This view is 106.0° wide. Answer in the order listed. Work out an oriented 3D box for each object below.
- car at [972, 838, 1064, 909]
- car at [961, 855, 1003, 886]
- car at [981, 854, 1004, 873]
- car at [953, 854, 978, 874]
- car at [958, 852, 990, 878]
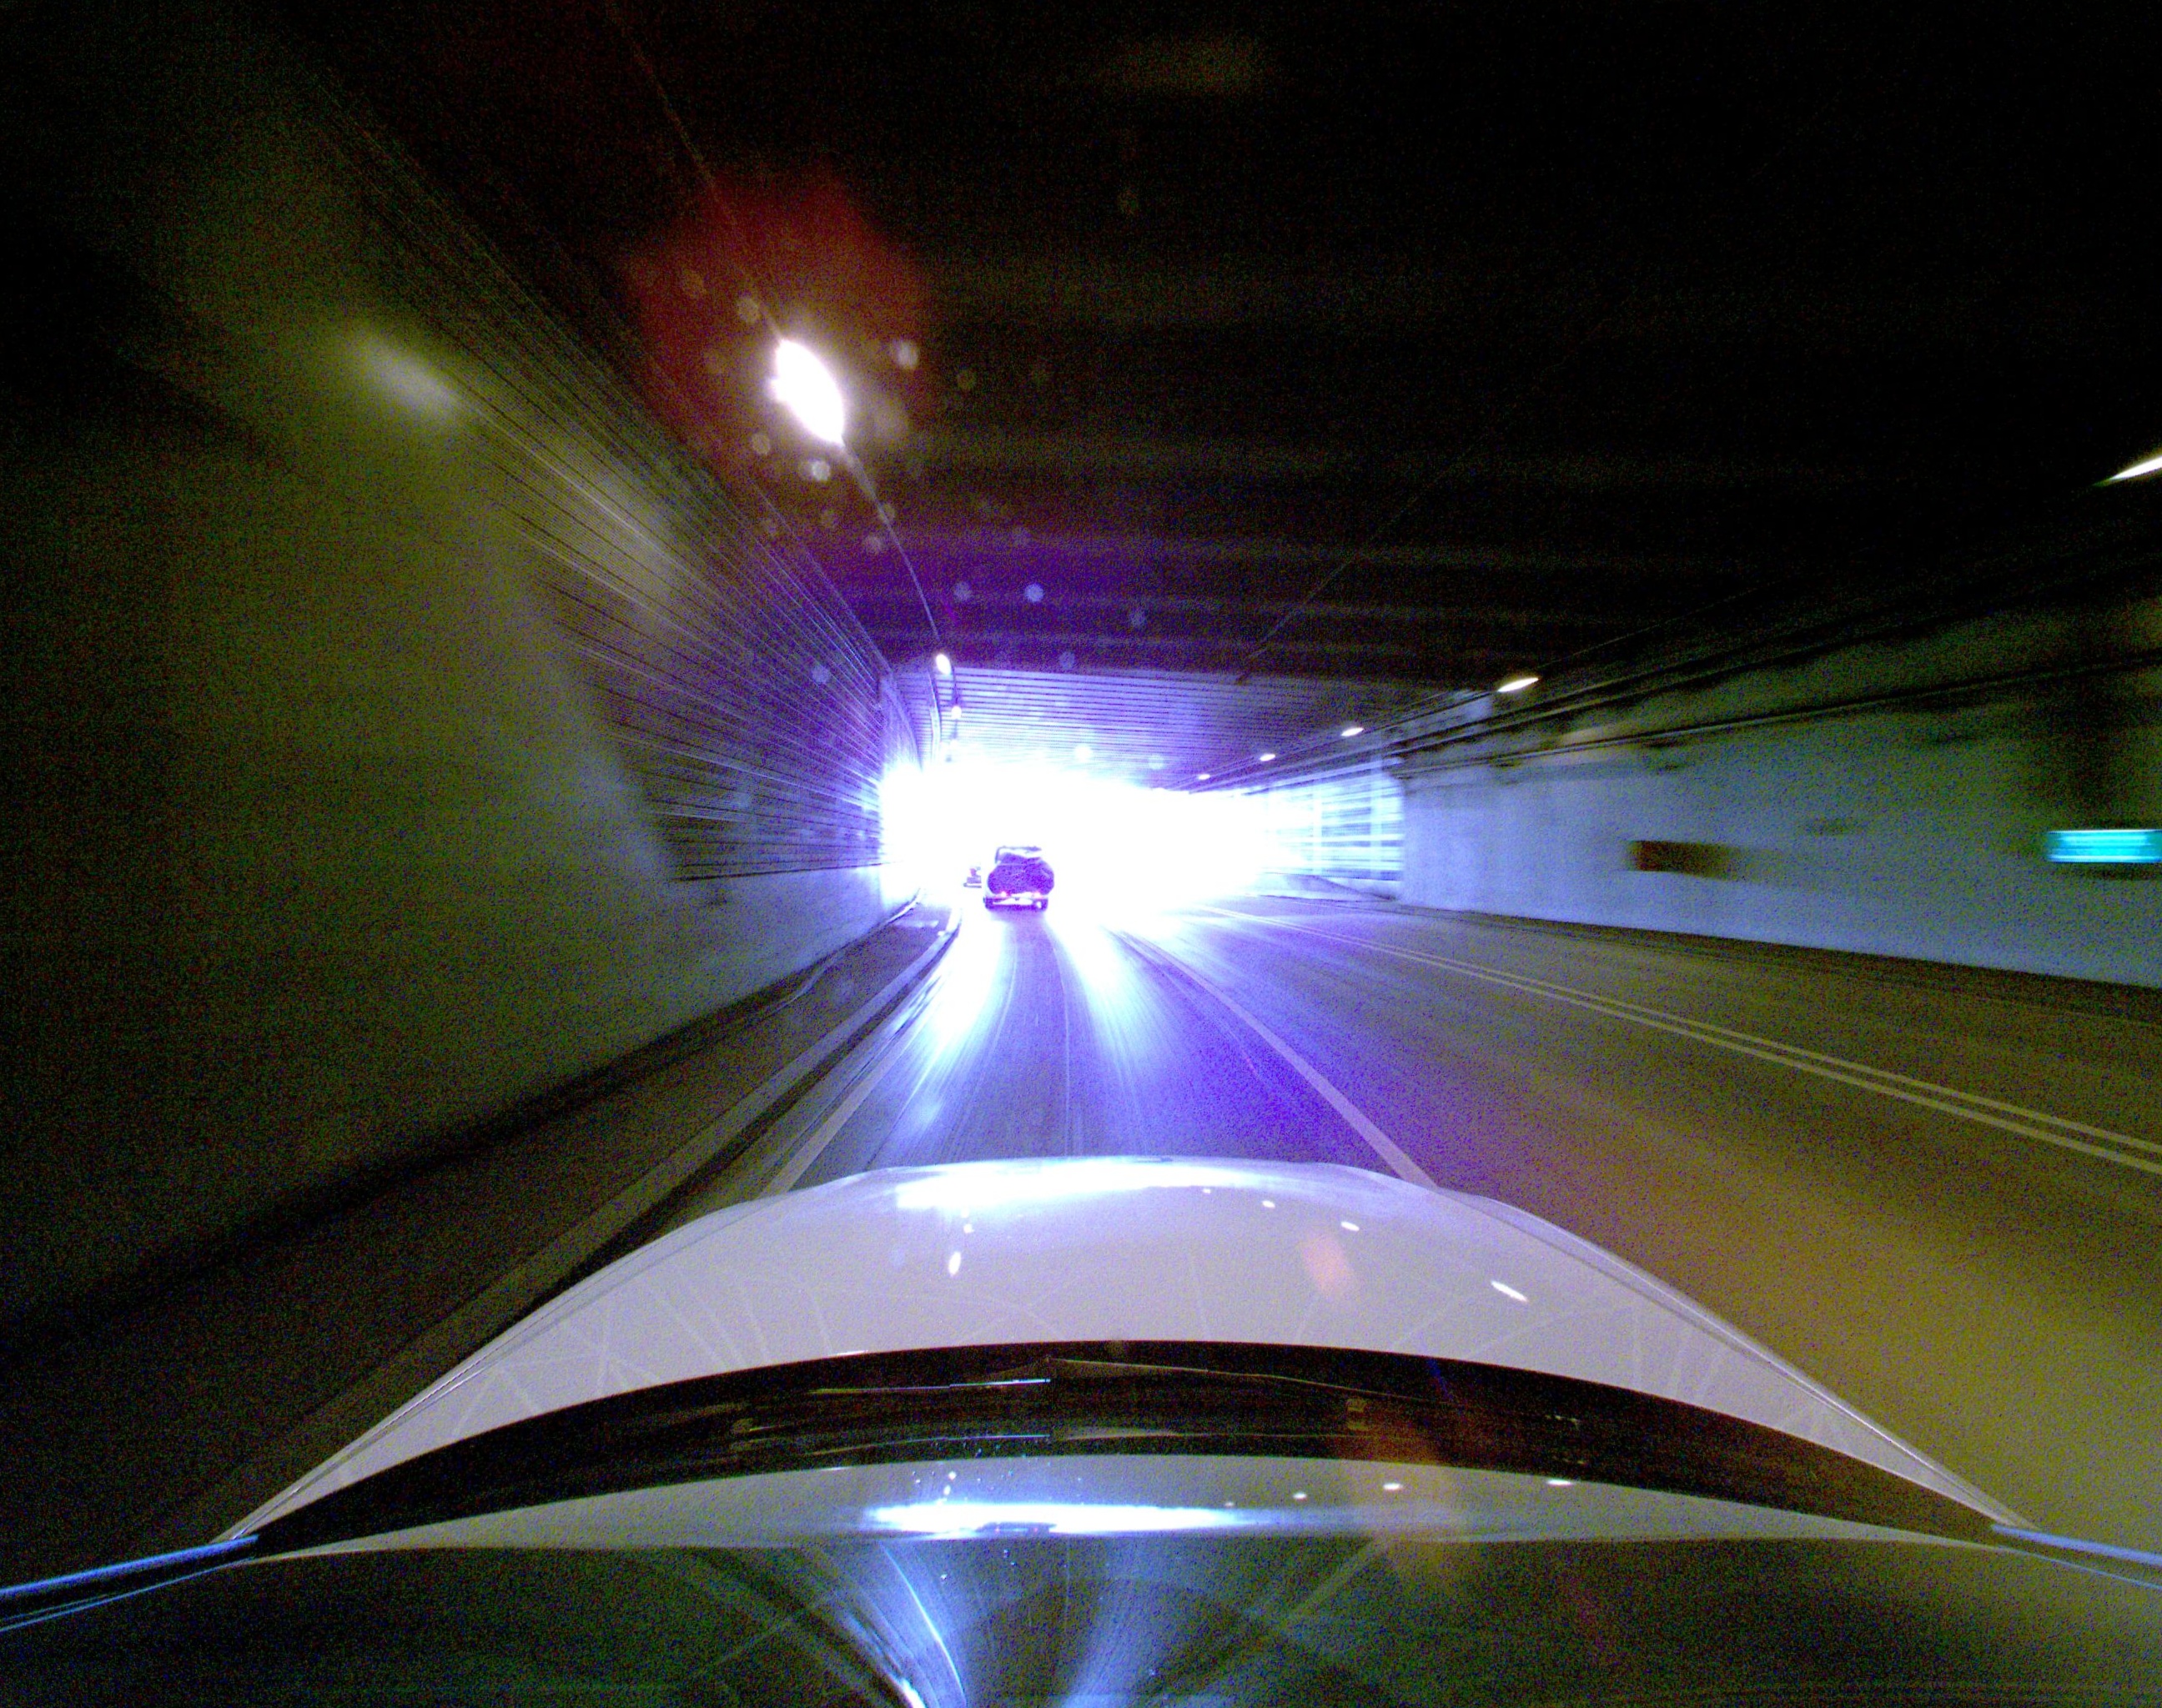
[{"bbox_3d":[-2.028,0.505,24.549,1.995,1.859,5.617,-1,0,-12],"label":"car"},{"bbox_3d":[-4.926,0.778,40.087,1.815,1.434,4.050,0,0,-11],"label":"car"},{"bbox_3d":[-8.093,0.851,74.097,1.991,1.664,3.991,-1,0,-7],"label":"car"},{"bbox_3d":[-10.102,0.852,71.292,1.991,1.664,3.991,-1,0,-7],"label":"car"},{"bbox_3d":[-6.745,0.640,51.456,1.919,1.488,4.055,1,1,-7],"label":"car"}]
